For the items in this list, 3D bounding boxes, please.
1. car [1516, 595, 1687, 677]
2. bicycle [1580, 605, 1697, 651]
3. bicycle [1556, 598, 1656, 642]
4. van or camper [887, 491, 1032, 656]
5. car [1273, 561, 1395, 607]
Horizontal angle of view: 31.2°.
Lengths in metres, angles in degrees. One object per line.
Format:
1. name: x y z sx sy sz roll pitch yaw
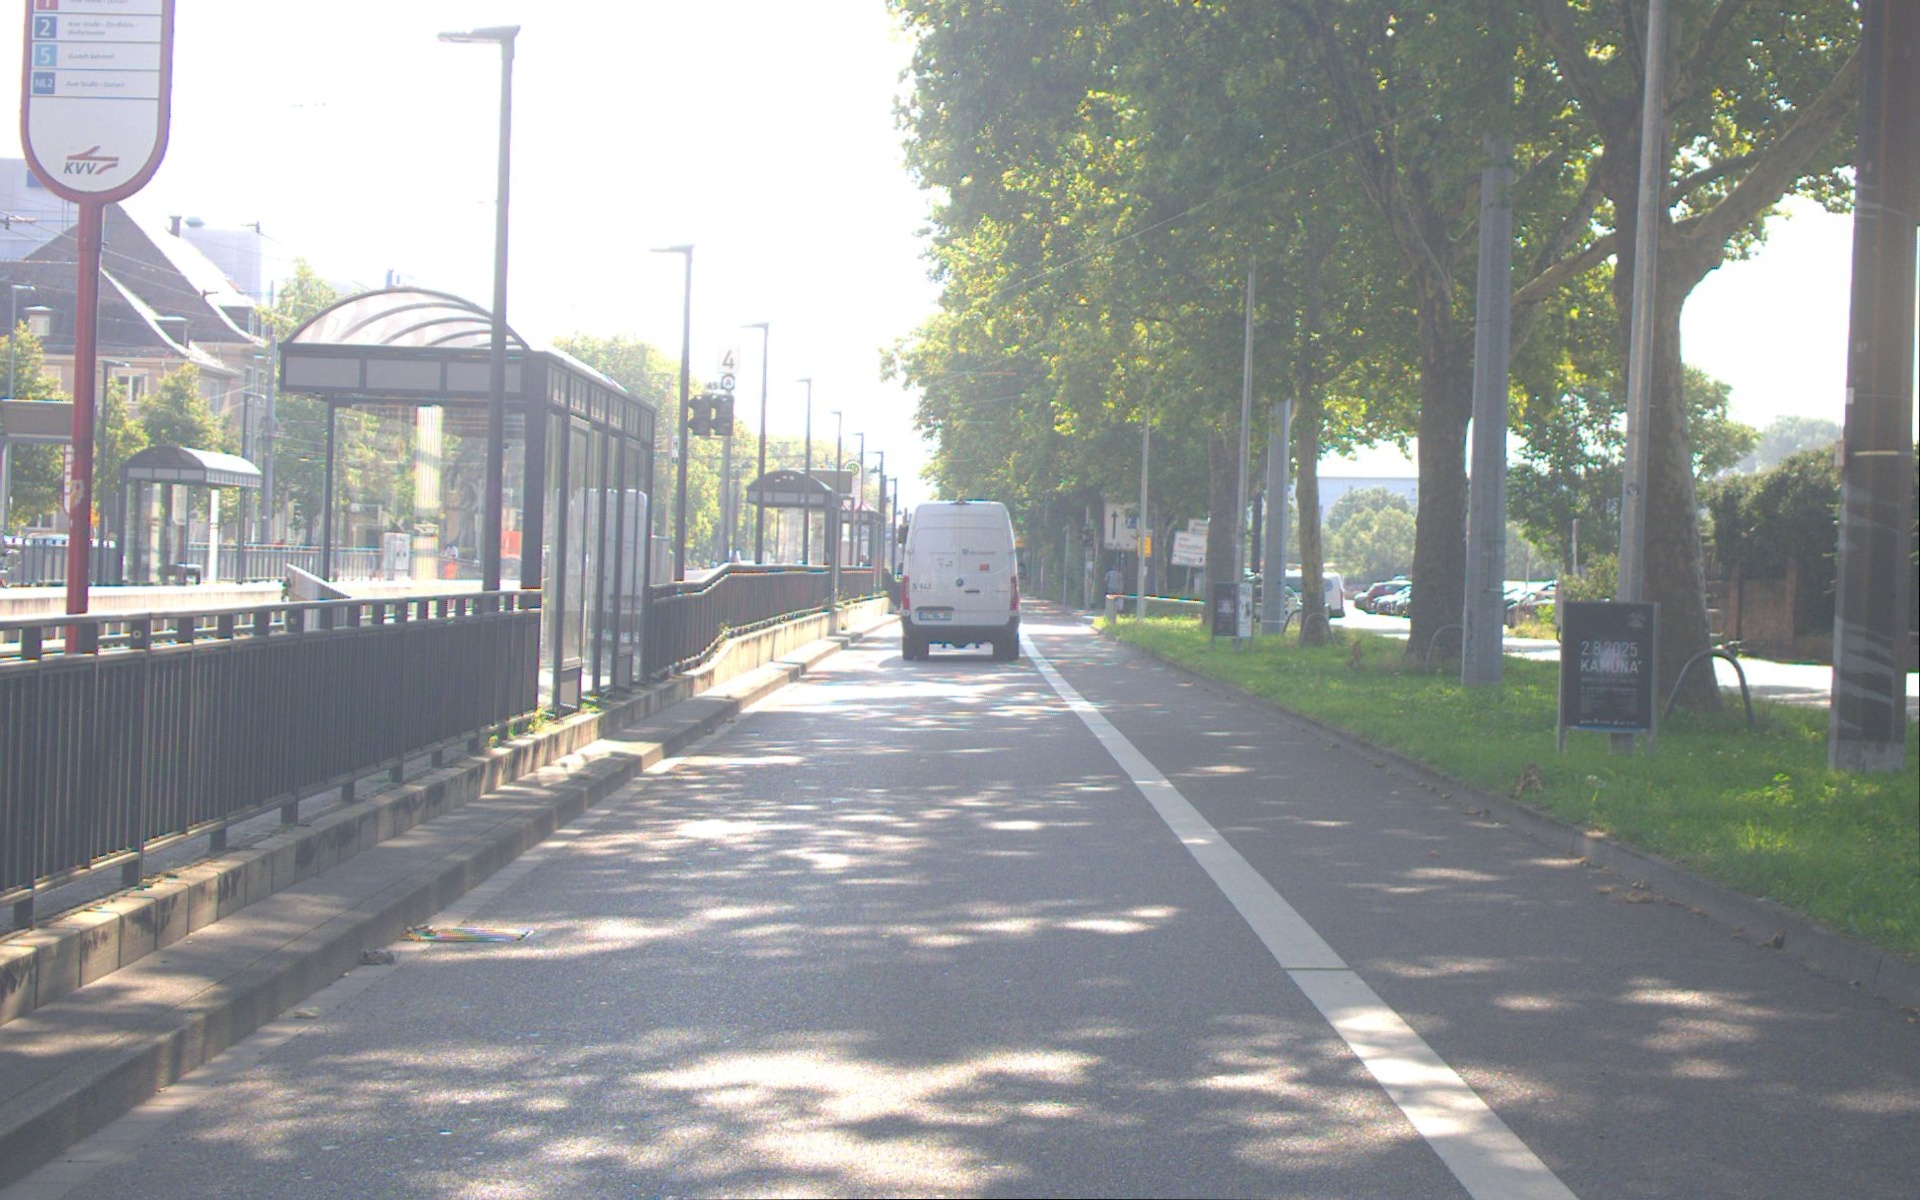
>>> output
1. car: 16.719 0.933 89.667 3.987 1.875 2.000 3 0 0
2. bicycle: 13.320 0.545 67.534 2.180 0.844 0.503 1 1 1
3. bicycle: 13.170 0.410 70.105 1.932 0.844 0.372 1 1 1
4. van or camper: -0.069 -0.462 58.882 2.115 2.673 5.251 1 1 -4
5. car: 13.092 -0.556 120.624 3.987 1.371 2.000 3 0 0
